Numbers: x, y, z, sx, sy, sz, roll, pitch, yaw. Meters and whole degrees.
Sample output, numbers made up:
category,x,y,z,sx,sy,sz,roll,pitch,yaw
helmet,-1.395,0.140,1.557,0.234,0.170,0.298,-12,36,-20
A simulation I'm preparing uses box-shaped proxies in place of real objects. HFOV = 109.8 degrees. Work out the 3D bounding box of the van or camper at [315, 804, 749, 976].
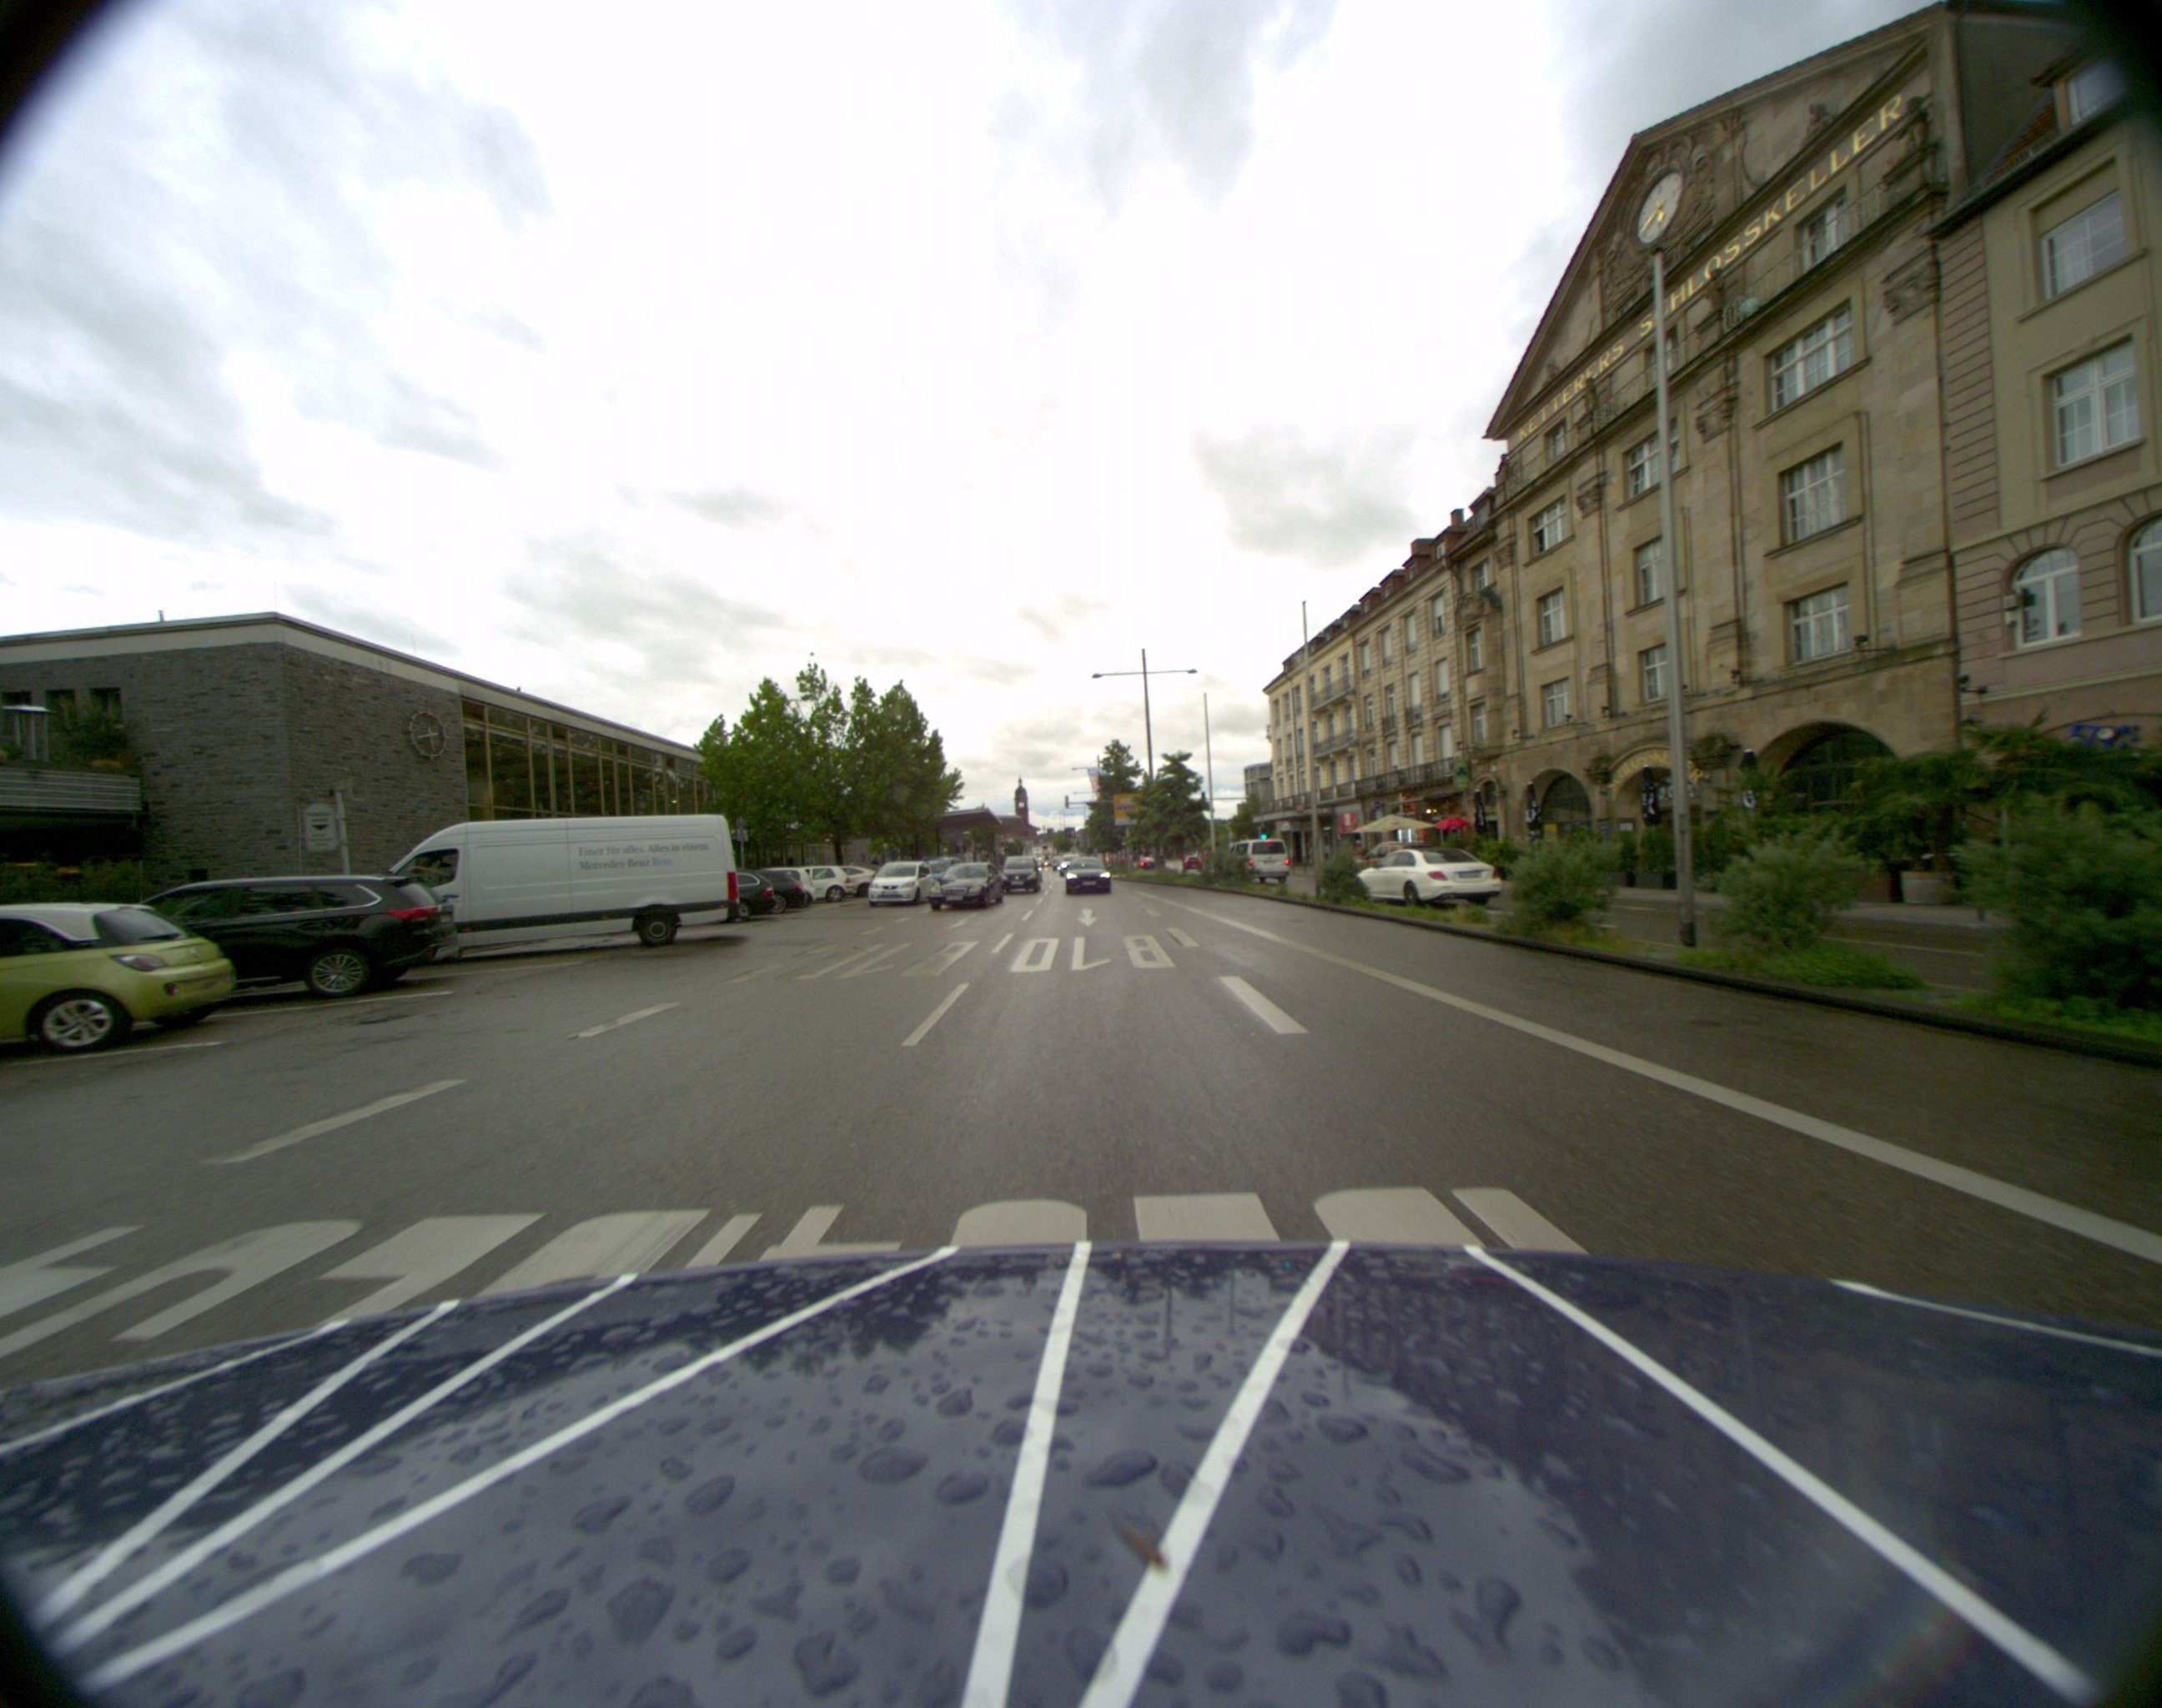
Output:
category,x,y,z,sx,sy,sz,roll,pitch,yaw
van or camper,-10.379,0.518,15.224,6.540,2.853,2.275,-2,1,-30

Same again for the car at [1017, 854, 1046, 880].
category,x,y,z,sx,sy,sz,roll,pitch,yaw
car,-3.029,0.791,46.891,1.620,1.477,3.669,-2,0,-1

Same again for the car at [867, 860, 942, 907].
category,x,y,z,sx,sy,sz,roll,pitch,yaw
car,-6.134,0.977,26.777,1.661,1.466,3.589,-2,0,1

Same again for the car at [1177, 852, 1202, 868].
category,x,y,z,sx,sy,sz,roll,pitch,yaw
car,10.625,0.582,74.374,1.682,1.437,3.914,-2,1,-2

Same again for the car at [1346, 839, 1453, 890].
category,x,y,z,sx,sy,sz,roll,pitch,yaw
car,11.533,0.361,27.850,1.999,1.670,4.100,-2,0,-4

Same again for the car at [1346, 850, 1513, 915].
category,x,y,z,sx,sy,sz,roll,pitch,yaw
car,8.697,0.632,19.547,1.795,1.398,4.983,-2,0,-3

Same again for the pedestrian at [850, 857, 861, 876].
category,x,y,z,sx,sy,sz,roll,pitch,yaw
pedestrian,-20.392,1.123,68.693,0.762,1.639,0.852,-2,1,-1

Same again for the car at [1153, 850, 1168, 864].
category,x,y,z,sx,sy,sz,roll,pitch,yaw
car,10.438,0.322,99.685,1.815,1.740,3.812,-2,0,4

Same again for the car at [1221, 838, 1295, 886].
category,x,y,z,sx,sy,sz,roll,pitch,yaw
car,8.051,0.333,34.996,1.926,1.962,4.853,-2,0,-4

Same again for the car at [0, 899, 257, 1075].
category,x,y,z,sx,sy,sz,roll,pitch,yaw
car,-11.148,1.334,7.530,3.595,1.515,1.759,-2,0,-26

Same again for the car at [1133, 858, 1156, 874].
category,x,y,z,sx,sy,sz,roll,pitch,yaw
car,6.543,1.209,78.933,1.847,1.455,5.029,-2,0,-1

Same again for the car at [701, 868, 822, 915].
category,x,y,z,sx,sy,sz,roll,pitch,yaw
car,-11.007,1.234,26.173,3.625,1.391,1.775,-2,1,-29

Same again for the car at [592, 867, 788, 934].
category,x,y,z,sx,sy,sz,roll,pitch,yaw
car,-10.506,1.182,20.606,4.477,1.462,1.915,-2,1,-30

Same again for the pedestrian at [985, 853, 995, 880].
category,x,y,z,sx,sy,sz,roll,pitch,yaw
pedestrian,-6.078,0.825,50.765,0.560,1.741,0.700,-1,1,5

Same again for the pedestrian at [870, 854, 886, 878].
category,x,y,z,sx,sy,sz,roll,pitch,yaw
pedestrian,-15.418,0.899,57.766,0.823,1.747,0.913,-2,1,5

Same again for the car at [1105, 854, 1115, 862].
category,x,y,z,sx,sy,sz,roll,pitch,yaw
car,5.937,0.817,155.165,1.983,1.438,3.908,-2,0,1

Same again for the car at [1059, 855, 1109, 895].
category,x,y,z,sx,sy,sz,roll,pitch,yaw
car,0.194,0.796,30.900,1.871,1.466,3.826,-2,0,2

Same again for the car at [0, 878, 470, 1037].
category,x,y,z,sx,sy,sz,roll,pitch,yaw
car,-11.361,1.260,10.490,4.242,1.625,1.880,-2,1,-29

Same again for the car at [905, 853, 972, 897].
category,x,y,z,sx,sy,sz,roll,pitch,yaw
car,-5.989,0.838,32.427,1.824,1.673,4.417,-2,0,2

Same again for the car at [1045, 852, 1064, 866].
category,x,y,z,sx,sy,sz,roll,pitch,yaw
car,-2.950,0.565,85.087,1.984,1.438,3.908,-2,0,-1

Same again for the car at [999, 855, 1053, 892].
category,x,y,z,sx,sy,sz,roll,pitch,yaw
car,-2.305,0.797,32.857,1.871,1.466,3.826,-2,0,2

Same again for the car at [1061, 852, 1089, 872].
category,x,y,z,sx,sy,sz,roll,pitch,yaw
car,-0.417,0.600,58.371,1.983,1.438,3.908,-1,1,1

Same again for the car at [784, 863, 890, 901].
category,x,y,z,sx,sy,sz,roll,pitch,yaw
car,-10.302,1.126,32.121,3.937,1.391,1.775,-2,1,-29

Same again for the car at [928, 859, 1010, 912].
category,x,y,z,sx,sy,sz,roll,pitch,yaw
car,-3.491,0.934,24.281,1.871,1.466,3.826,-2,0,2

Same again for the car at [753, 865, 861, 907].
category,x,y,z,sx,sy,sz,roll,pitch,yaw
car,-10.501,1.168,29.151,3.625,1.391,1.775,-2,1,-29

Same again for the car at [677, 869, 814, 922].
category,x,y,z,sx,sy,sz,roll,pitch,yaw
car,-10.395,1.230,23.585,3.695,1.391,1.775,-2,1,-29

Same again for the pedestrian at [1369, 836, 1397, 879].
category,x,y,z,sx,sy,sz,roll,pitch,yaw
pedestrian,14.169,0.158,35.659,0.678,1.900,0.765,-12,4,0

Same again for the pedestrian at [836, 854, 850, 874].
category,x,y,z,sx,sy,sz,roll,pitch,yaw
pedestrian,-18.798,0.786,60.041,0.762,1.502,0.852,-2,1,-1

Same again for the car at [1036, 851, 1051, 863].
category,x,y,z,sx,sy,sz,roll,pitch,yaw
car,-5.454,0.378,112.069,2.055,1.581,4.076,-2,1,-1

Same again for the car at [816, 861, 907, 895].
category,x,y,z,sx,sy,sz,roll,pitch,yaw
car,-10.329,1.095,35.746,3.935,1.391,1.776,-2,1,-22
